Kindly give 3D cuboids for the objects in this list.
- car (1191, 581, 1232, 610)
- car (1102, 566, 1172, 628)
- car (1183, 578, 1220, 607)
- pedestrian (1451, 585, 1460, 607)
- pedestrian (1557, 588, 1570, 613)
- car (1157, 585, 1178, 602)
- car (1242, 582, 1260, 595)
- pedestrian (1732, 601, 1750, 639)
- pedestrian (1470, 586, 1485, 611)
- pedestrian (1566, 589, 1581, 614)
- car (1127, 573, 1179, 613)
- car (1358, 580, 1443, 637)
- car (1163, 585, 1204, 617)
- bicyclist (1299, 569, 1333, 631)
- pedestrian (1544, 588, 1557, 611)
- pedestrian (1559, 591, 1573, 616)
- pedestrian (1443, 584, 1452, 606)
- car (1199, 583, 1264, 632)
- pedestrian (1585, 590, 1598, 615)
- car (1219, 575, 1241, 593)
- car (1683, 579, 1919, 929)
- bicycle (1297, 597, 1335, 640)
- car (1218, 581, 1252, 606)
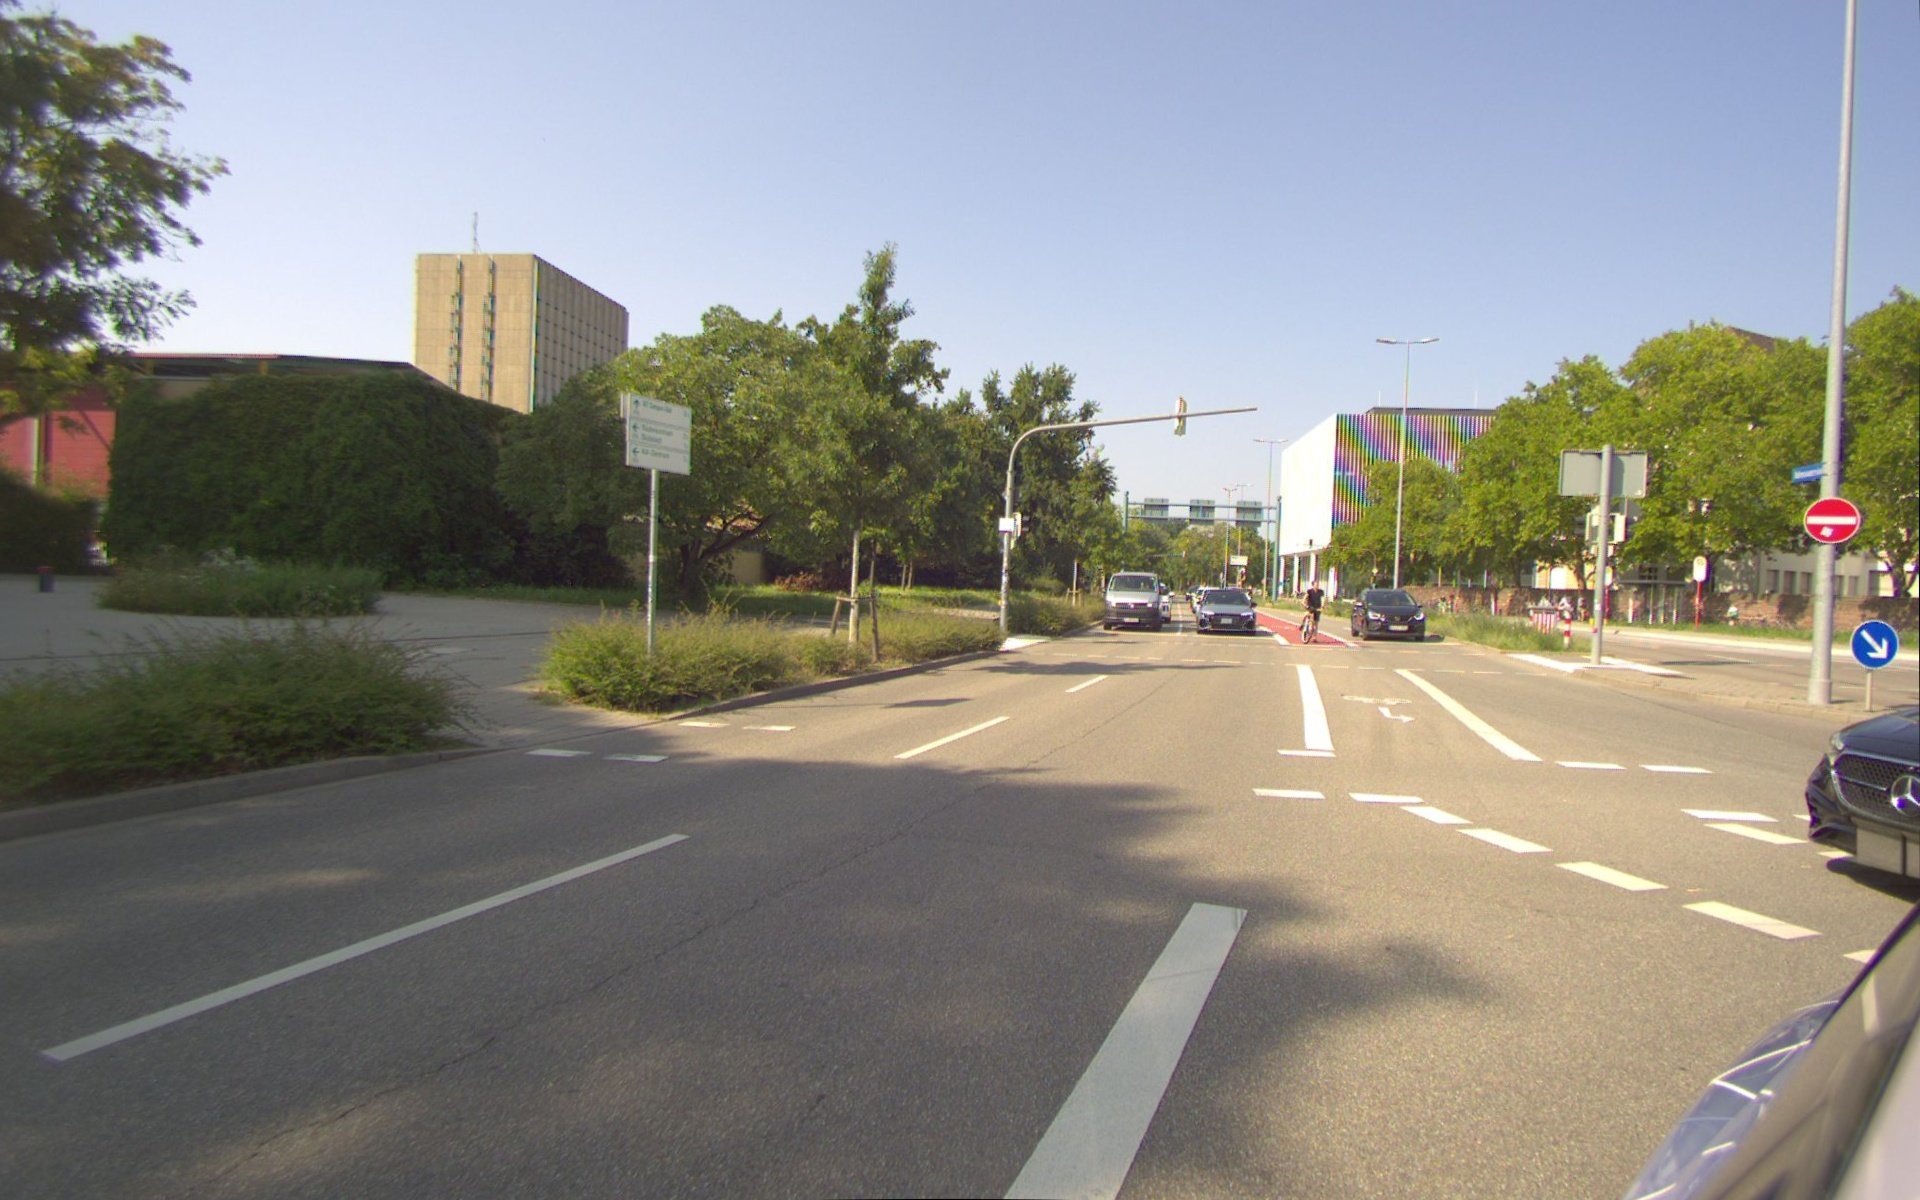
[{"bbox_3d":[14.358,-0.304,57.960,1.901,1.524,4.284,3,1,9],"label":"car"},{"bbox_3d":[6.090,-0.139,34.455,1.821,1.898,4.950,3,1,15],"label":"car"},{"bbox_3d":[15.241,-0.479,64.028,1.901,1.680,4.284,2,1,9],"label":"car"},{"bbox_3d":[40.246,-0.346,82.215,0.478,1.762,0.504,3,-1,8],"label":"pedestrian"},{"bbox_3d":[42.249,0.039,70.899,0.473,1.672,0.595,3,-1,-8],"label":"pedestrian"},{"bbox_3d":[22.349,-0.691,109.212,1.901,1.680,4.284,2,1,9],"label":"car"},{"bbox_3d":[38.494,-1.570,133.949,1.683,1.593,3.992,2,1,8],"label":"car"},{"bbox_3d":[44.212,1.138,57.284,0.509,2.132,0.595,3,-1,-8],"label":"pedestrian"},{"bbox_3d":[43.036,-0.105,84.203,0.728,1.978,0.932,3,-1,2],"label":"pedestrian"},{"bbox_3d":[41.379,0.104,68.258,0.509,1.672,0.595,3,-1,-8],"label":"pedestrian"},{"bbox_3d":[8.181,-0.315,42.681,1.785,1.524,3.949,3,1,15],"label":"car"},{"bbox_3d":[13.541,0.210,31.326,1.828,1.598,4.689,1,1,17],"label":"car"},{"bbox_3d":[11.659,0.017,52.923,1.970,1.524,4.419,3,1,12],"label":"car"},{"bbox_3d":[9.941,-0.005,28.259,0.738,1.655,0.872,3,1,13],"label":"bicyclist"},{"bbox_3d":[41.265,-0.023,70.721,0.524,1.591,0.503,3,-1,-10],"label":"pedestrian"},{"bbox_3d":[41.268,0.240,68.966,0.509,1.672,0.595,3,-1,-8],"label":"pedestrian"},{"bbox_3d":[39.672,-0.373,82.357,0.478,1.762,0.504,3,-1,8],"label":"pedestrian"},{"bbox_3d":[9.019,0.192,33.645,1.884,1.418,4.897,3,2,15],"label":"car"},{"bbox_3d":[42.451,0.155,68.030,0.473,1.672,0.595,3,-1,-8],"label":"pedestrian"},{"bbox_3d":[35.179,-2.069,131.827,1.885,2.039,3.996,3,-1,3],"label":"car"},{"bbox_3d":[6.445,0.722,4.673,4.783,1.458,1.826,2,1,1],"label":"car"},{"bbox_3d":[9.920,0.500,28.268,0.759,1.065,1.768,3,2,13],"label":"bicycle"},{"bbox_3d":[19.879,-0.506,73.326,1.901,1.680,4.284,2,1,9],"label":"car"}]
